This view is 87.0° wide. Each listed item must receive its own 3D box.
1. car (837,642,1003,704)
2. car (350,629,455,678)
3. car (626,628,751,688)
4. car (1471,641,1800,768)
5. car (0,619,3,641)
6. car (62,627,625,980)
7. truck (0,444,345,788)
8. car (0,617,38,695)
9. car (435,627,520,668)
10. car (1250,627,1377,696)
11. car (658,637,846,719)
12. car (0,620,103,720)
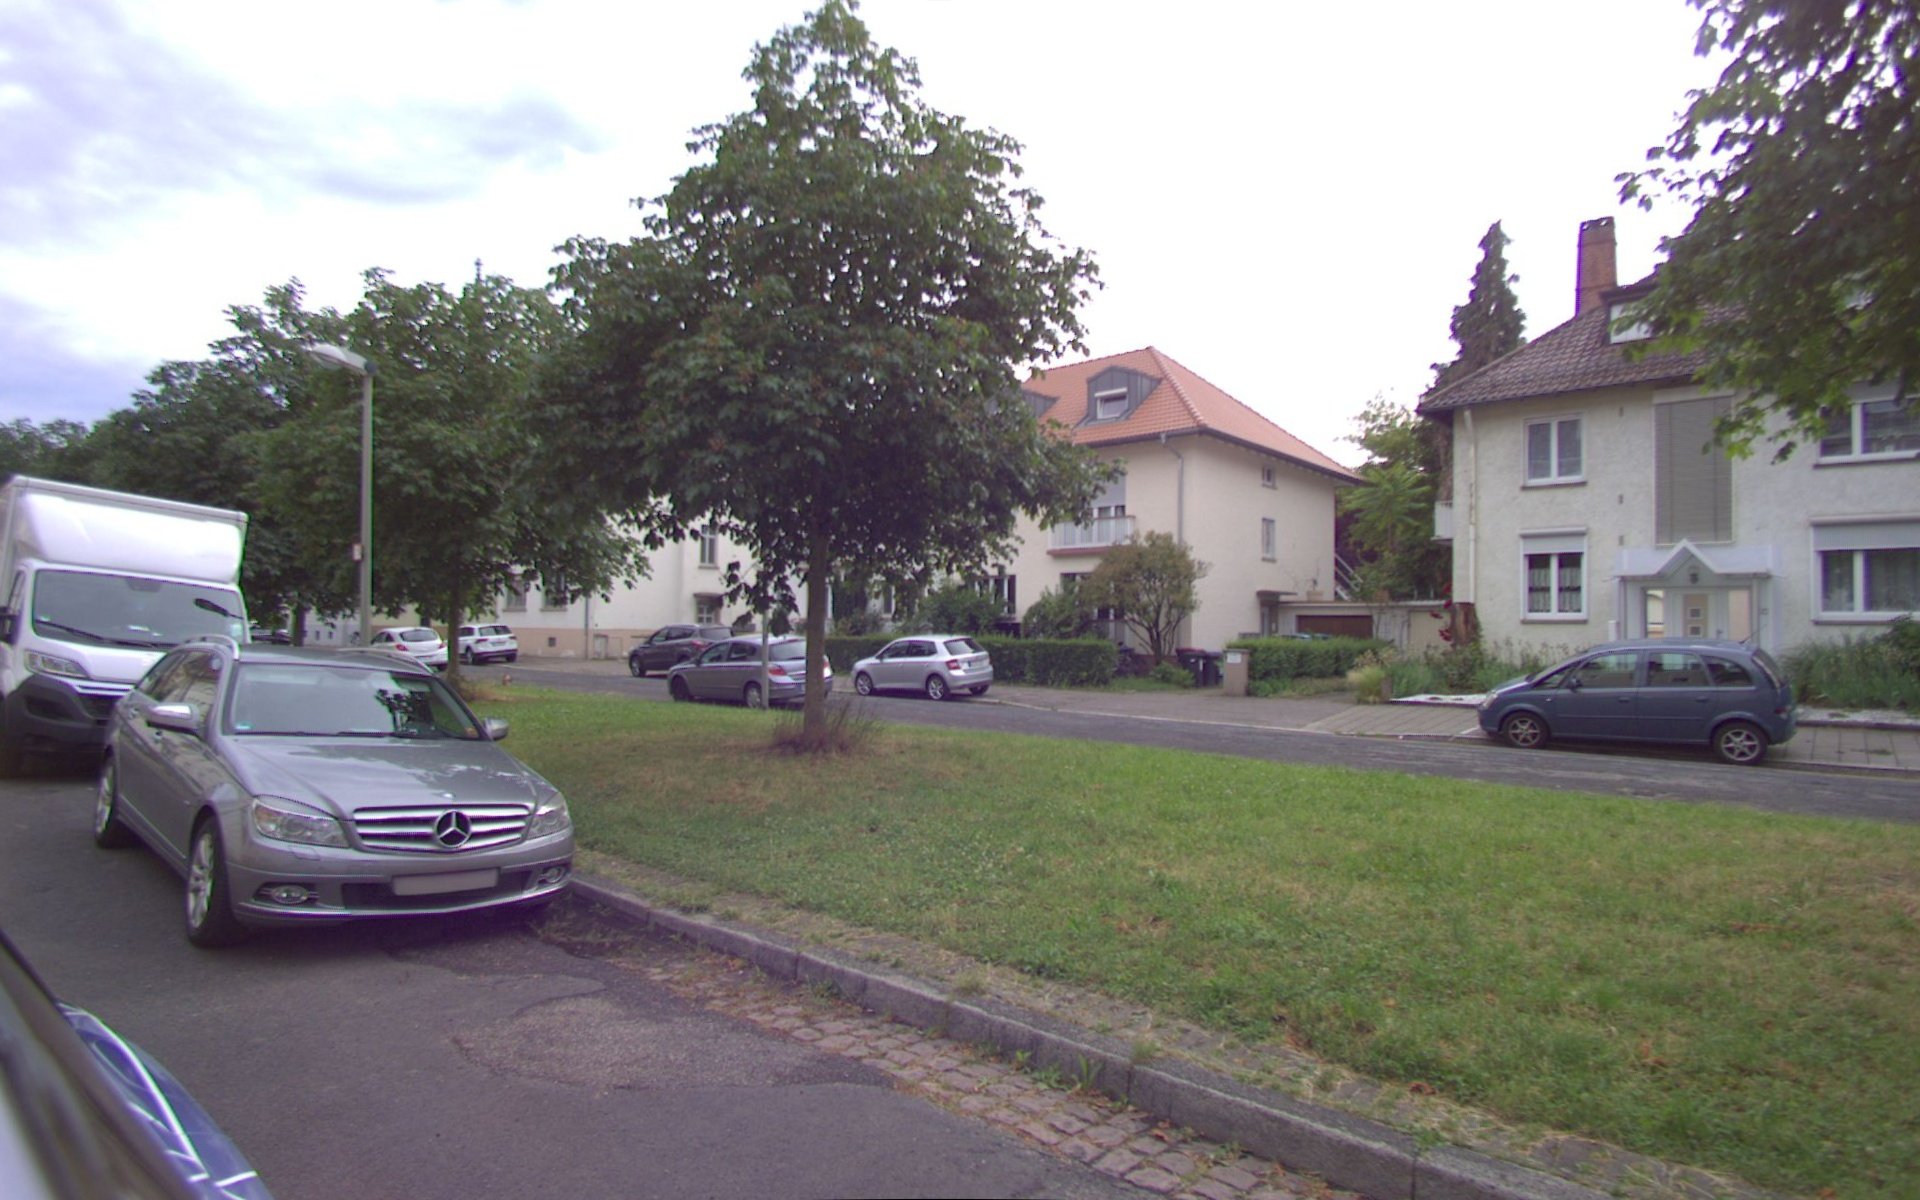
[{"bbox_3d":[-1.021,1.713,24.681,3.940,1.365,1.780,-2,-3,42],"label":"car"},{"bbox_3d":[-18.277,1.716,33.118,4.005,1.499,1.780,-2,-3,42],"label":"car"},{"bbox_3d":[-8.523,1.766,31.569,4.099,1.686,1.781,-2,0,42],"label":"car"},{"bbox_3d":[9.980,1.442,15.105,3.882,1.614,1.696,-2,-2,40],"label":"car"},{"bbox_3d":[-25.999,1.289,25.732,4.311,1.721,1.762,-2,-7,40],"label":"car"},{"bbox_3d":[-4.108,1.015,6.395,4.446,1.469,1.693,-2,-8,42],"label":"car"},{"bbox_3d":[-10.012,0.377,11.963,7.109,2.979,2.412,-2,-9,42],"label":"truck"},{"bbox_3d":[-20.554,1.134,20.890,4.147,1.526,1.623,-2,-4,40],"label":"car"},{"bbox_3d":[-20.058,1.940,42.020,4.005,1.619,1.780,-2,-3,42],"label":"car"},{"bbox_3d":[10.065,1.682,28.646,2.000,1.741,3.944,-2,-2,42],"label":"car"},{"bbox_3d":[-4.341,1.527,20.858,4.005,1.499,1.780,-2,-3,42],"label":"car"},{"bbox_3d":[-16.323,1.172,17.369,4.147,1.526,1.623,-2,-7,40],"label":"car"}]
